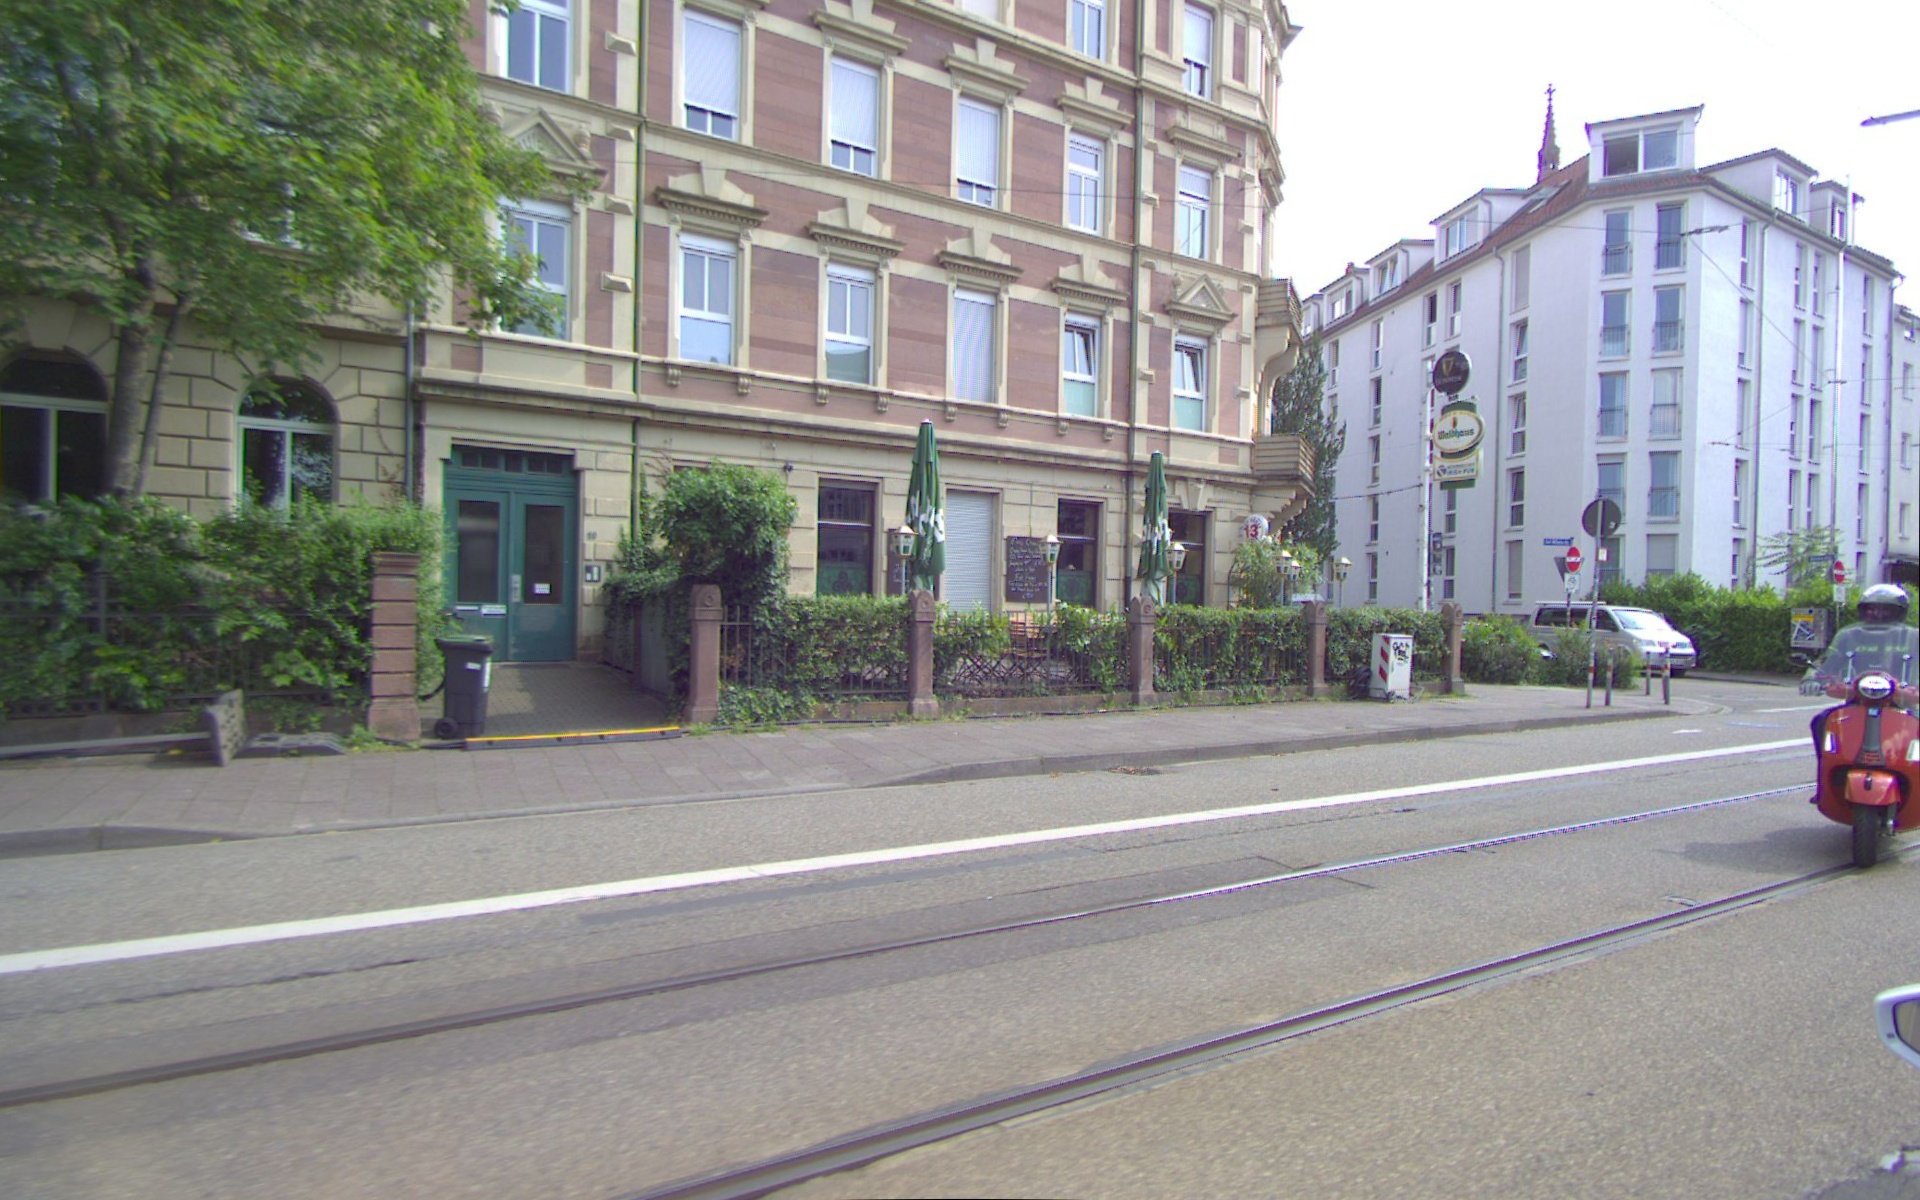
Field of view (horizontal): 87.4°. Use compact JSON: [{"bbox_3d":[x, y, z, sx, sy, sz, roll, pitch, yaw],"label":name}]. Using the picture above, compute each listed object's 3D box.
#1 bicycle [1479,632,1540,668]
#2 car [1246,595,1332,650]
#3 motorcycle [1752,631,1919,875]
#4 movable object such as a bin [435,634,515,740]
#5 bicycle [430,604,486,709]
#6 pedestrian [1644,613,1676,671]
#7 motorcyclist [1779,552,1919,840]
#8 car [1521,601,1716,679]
[{"bbox_3d":[18.176,1.649,33.294,0.769,1.080,2.031,1,0,-5],"label":"bicycle"},{"bbox_3d":[16.255,1.084,50.009,2.102,2.541,5.671,1,0,-4],"label":"car"},{"bbox_3d":[6.092,0.908,6.656,2.067,1.378,0.734,1,0,-35],"label":"motorcycle"},{"bbox_3d":[-4.604,0.807,9.535,0.633,0.937,0.576,1,0,-30],"label":"movable object such as a bin"},{"bbox_3d":[-5.979,0.611,11.908,0.475,1.007,2.604,1,2,-29],"label":"bicycle"},{"bbox_3d":[21.154,1.264,30.349,0.775,1.721,0.479,1,0,-30],"label":"pedestrian"},{"bbox_3d":[6.001,0.587,6.587,0.912,1.737,0.734,1,0,-34],"label":"motorcyclist"},{"bbox_3d":[18.909,1.094,29.184,2.012,2.040,4.940,1,-1,-8],"label":"car"}]
